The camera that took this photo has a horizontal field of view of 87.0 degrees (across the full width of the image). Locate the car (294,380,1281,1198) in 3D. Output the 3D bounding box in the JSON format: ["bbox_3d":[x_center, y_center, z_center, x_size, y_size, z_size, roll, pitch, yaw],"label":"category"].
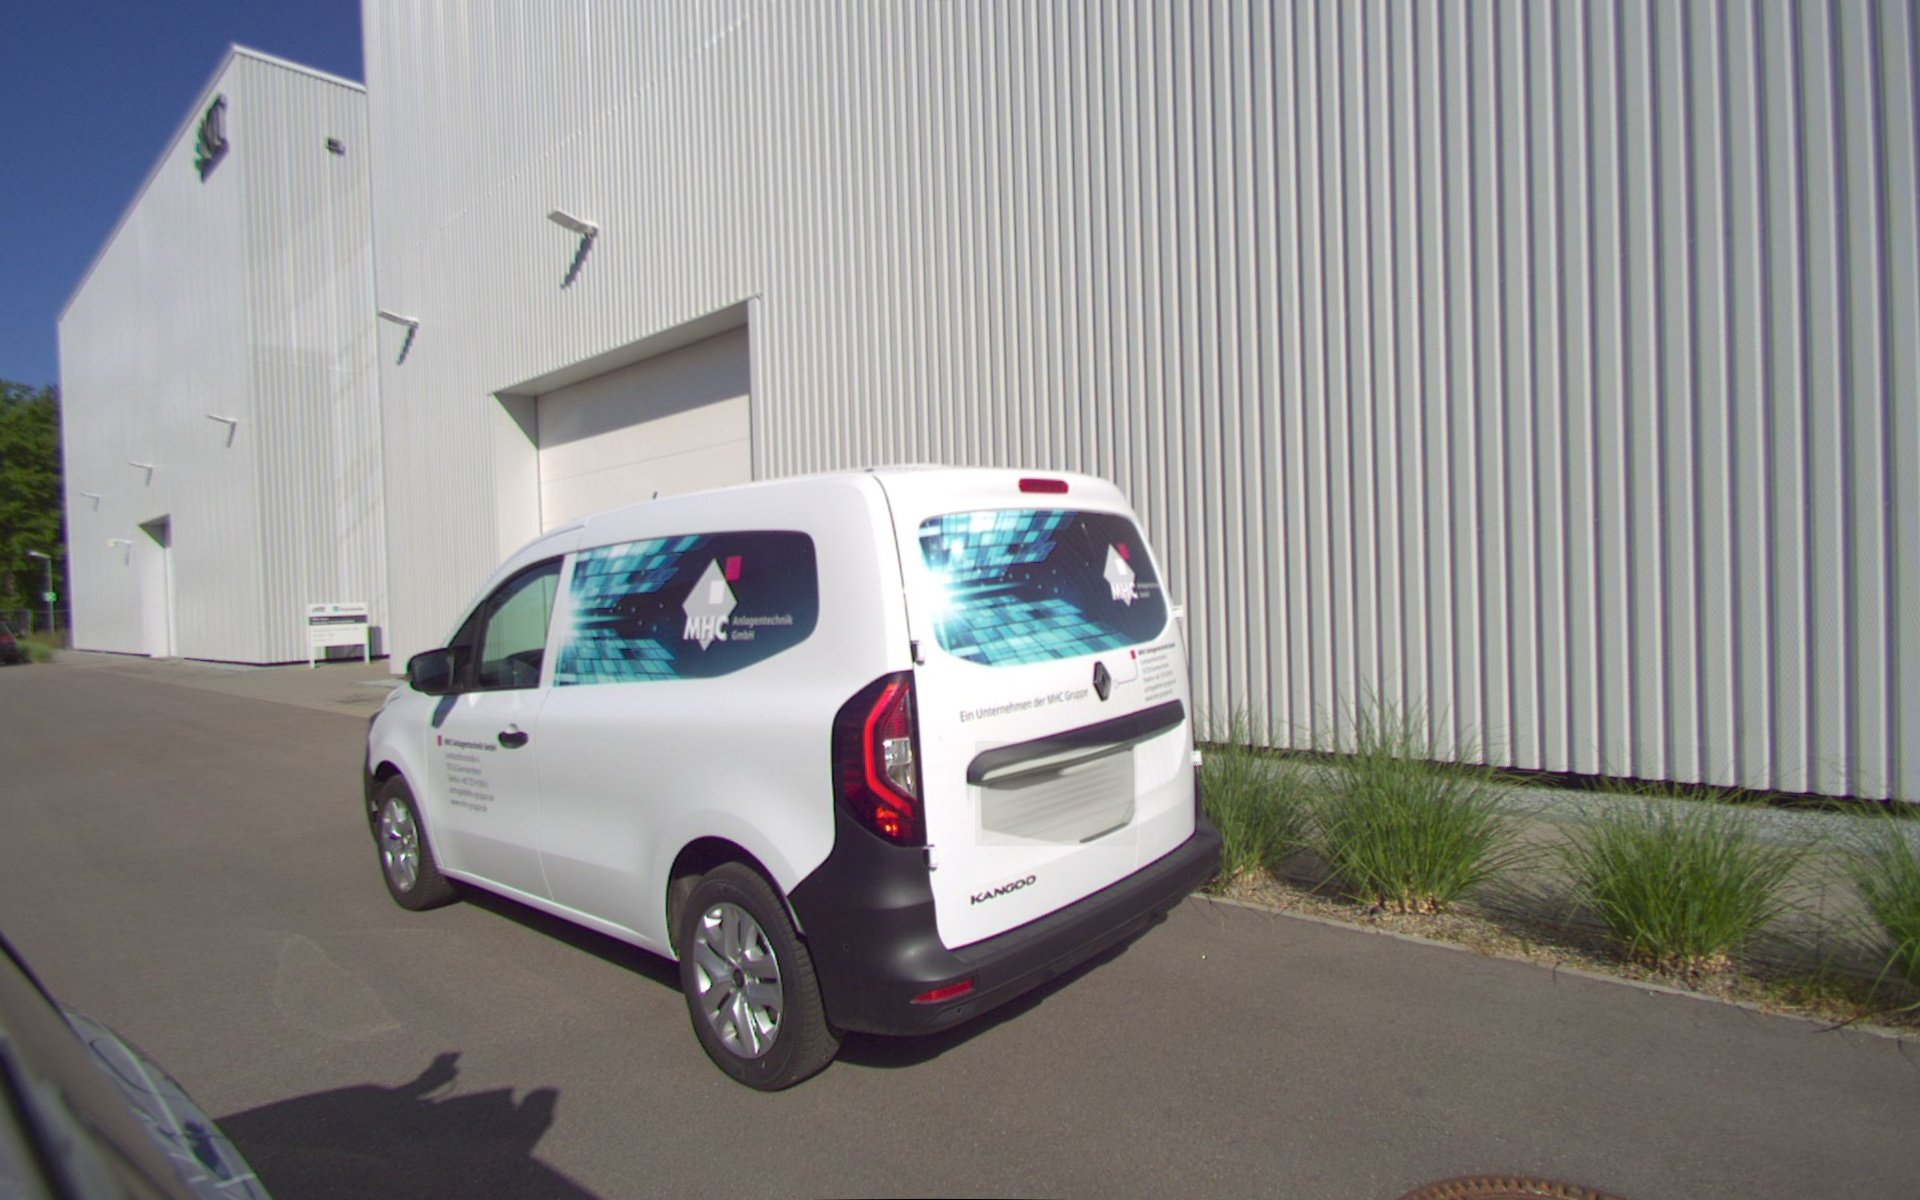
[{"bbox_3d":[-1.181,0.416,4.458,4.600,1.829,1.765,-1,2,42],"label":"car"}]

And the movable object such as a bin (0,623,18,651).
[{"bbox_3d":[-50.169,1.941,53.014,1.289,1.445,1.125,-2,-2,43],"label":"movable object such as a bin"}]

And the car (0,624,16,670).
[{"bbox_3d":[-32.718,1.624,33.515,4.314,1.456,1.738,-2,2,43],"label":"car"}]
